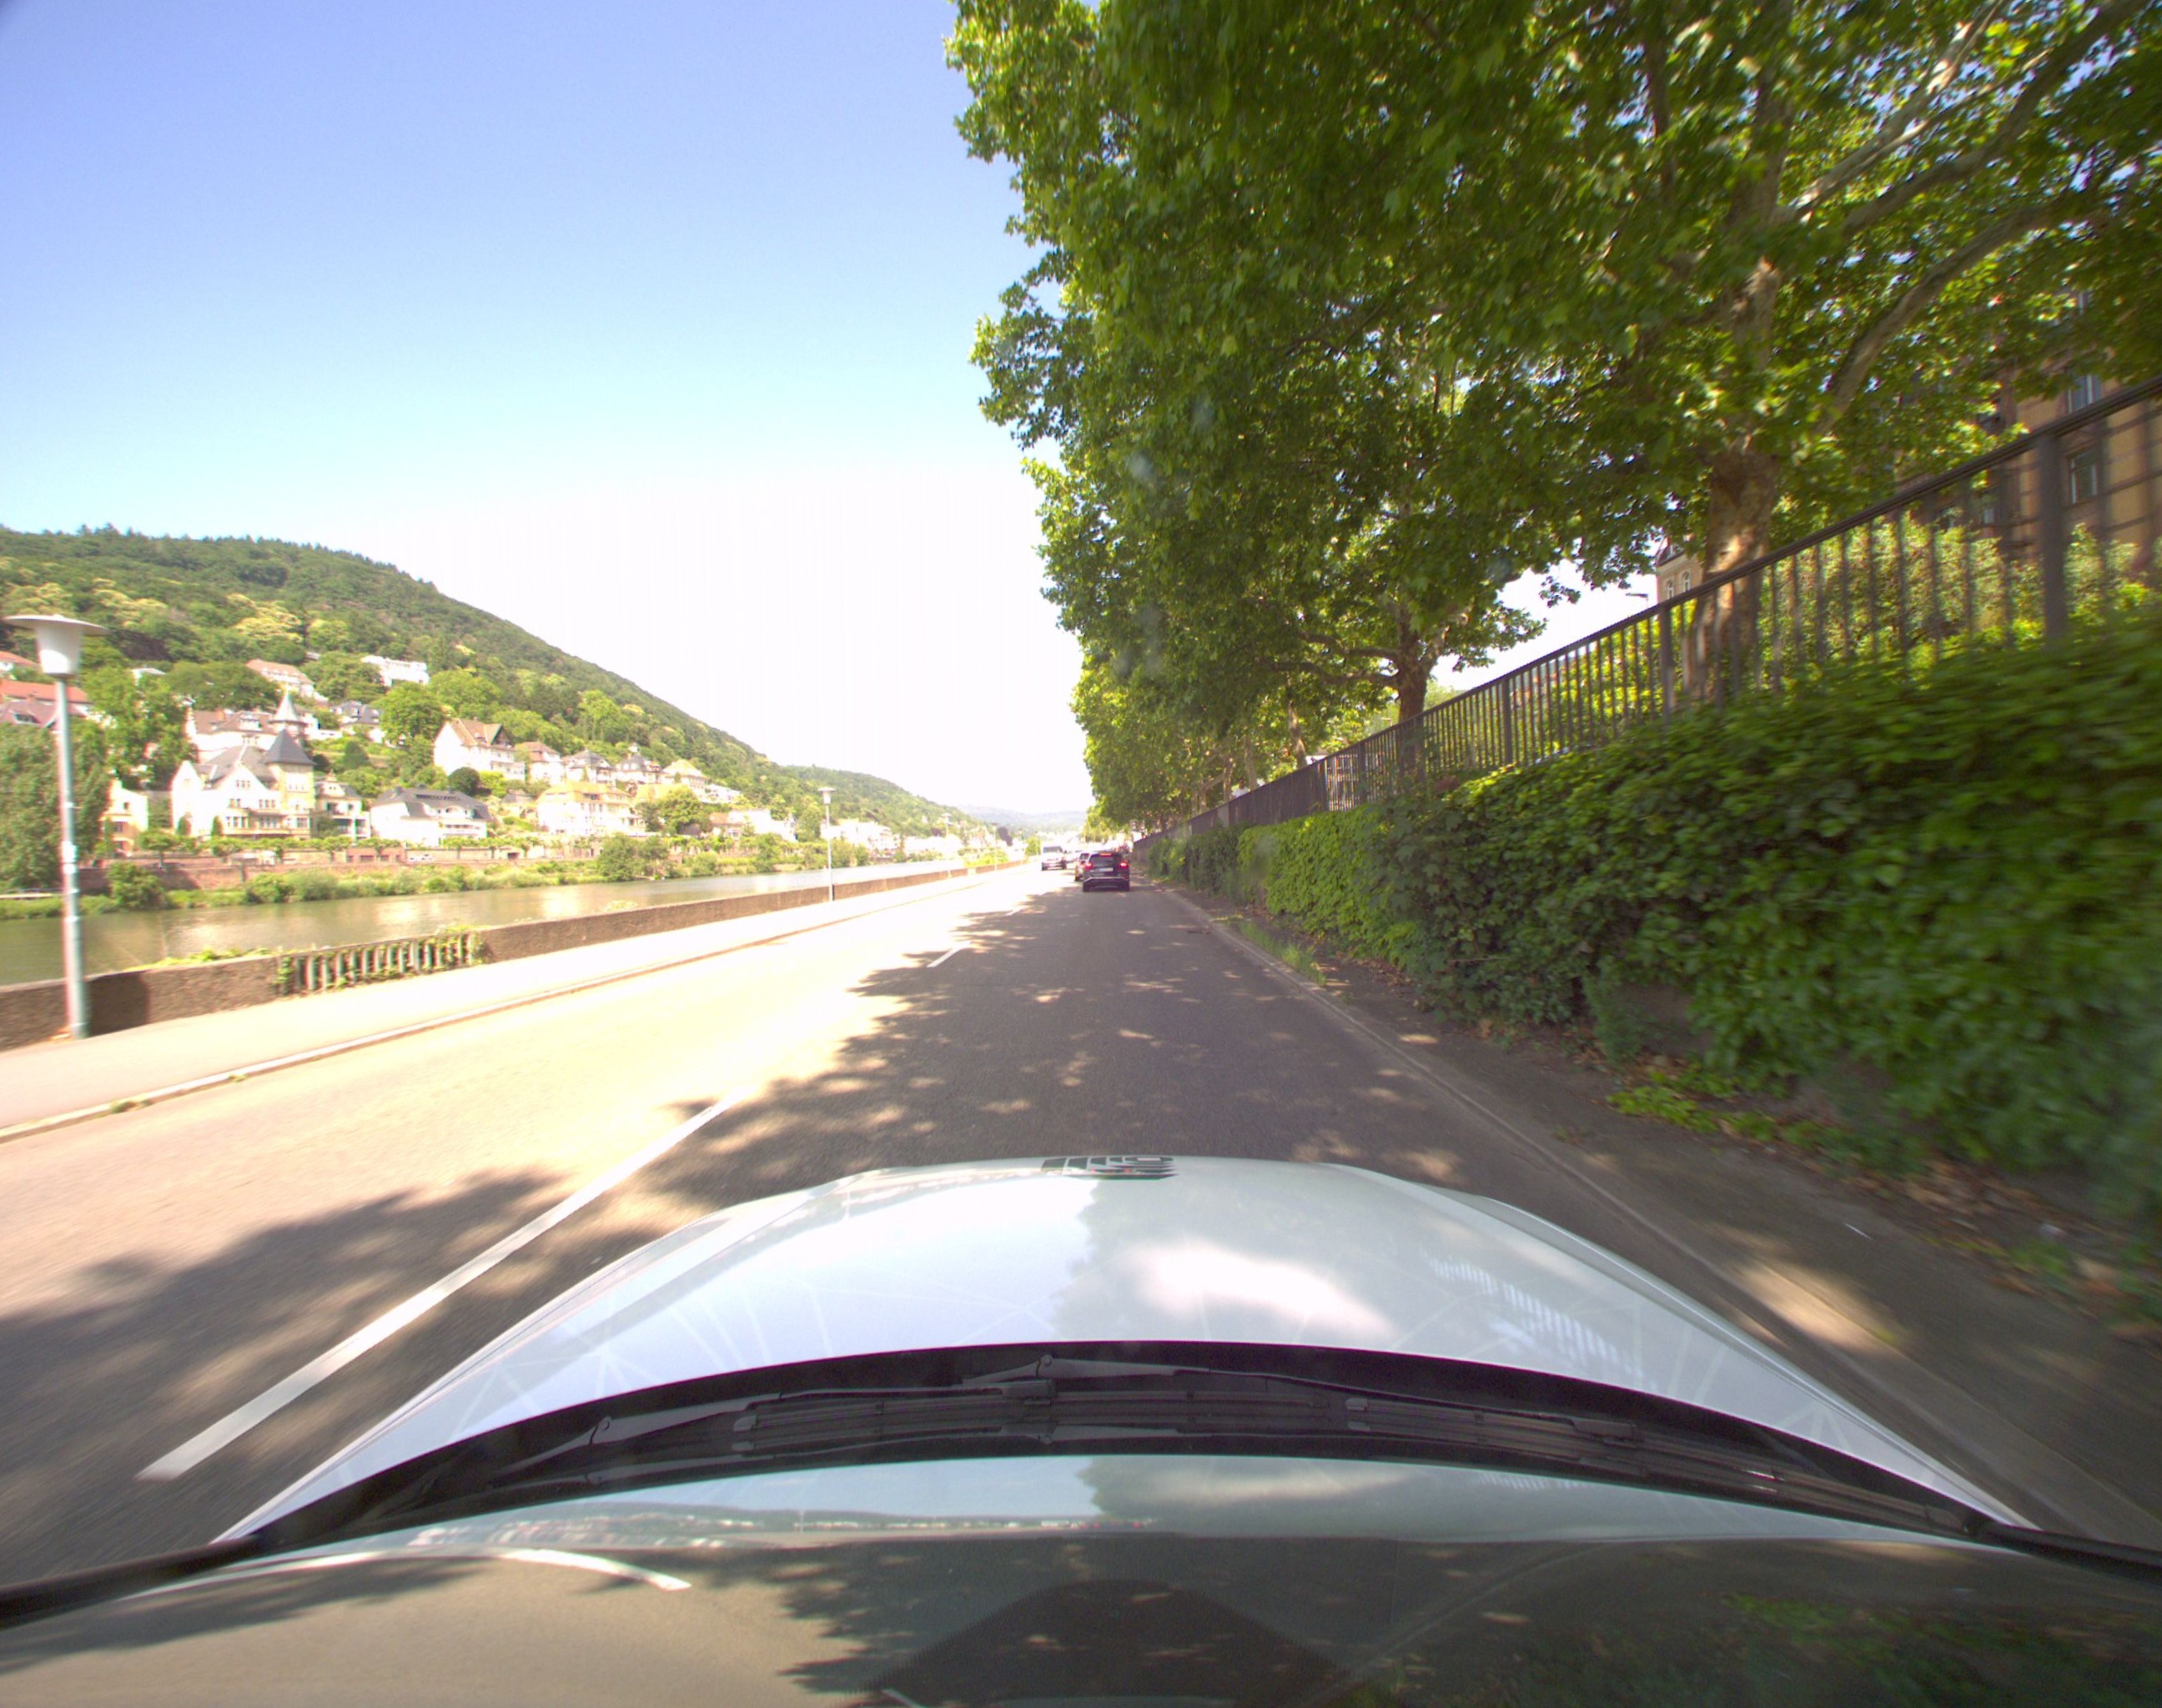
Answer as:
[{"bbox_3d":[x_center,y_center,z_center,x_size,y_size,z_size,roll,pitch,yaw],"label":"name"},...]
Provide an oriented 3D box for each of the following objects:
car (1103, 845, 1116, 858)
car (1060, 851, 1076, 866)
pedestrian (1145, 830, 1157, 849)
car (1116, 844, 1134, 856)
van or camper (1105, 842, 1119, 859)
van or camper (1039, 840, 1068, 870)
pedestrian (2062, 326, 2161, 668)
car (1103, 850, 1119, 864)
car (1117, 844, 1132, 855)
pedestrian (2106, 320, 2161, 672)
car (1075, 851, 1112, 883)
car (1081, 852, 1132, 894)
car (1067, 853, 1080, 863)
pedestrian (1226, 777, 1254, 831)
[{"bbox_3d":[4.638,-0.439,132.626,1.987,2.169,4.001,-1,1,1],"label":"car"},{"bbox_3d":[-1.547,0.506,98.733,1.725,1.650,4.178,-4,0,1],"label":"car"},{"bbox_3d":[6.470,-1.332,75.155,0.934,1.579,1.027,-5,0,-1],"label":"pedestrian"},{"bbox_3d":[8.425,-0.801,156.948,3.088,2.013,5.825,-5,0,1],"label":"car"},{"bbox_3d":[5.539,-0.604,145.086,2.300,2.847,4.249,-2,0,3],"label":"van or camper"},{"bbox_3d":[-2.319,0.079,70.260,2.069,2.398,5.387,-2,0,1],"label":"van or camper"},{"bbox_3d":[5.028,-1.608,3.623,0.584,1.419,0.588,-3,0,-6],"label":"pedestrian"},{"bbox_3d":[3.425,0.310,93.505,1.822,1.444,4.001,-2,0,1],"label":"car"},{"bbox_3d":[8.856,-0.880,167.348,2.652,2.013,5.825,-5,0,1],"label":"car"},{"bbox_3d":[5.537,-1.749,3.817,0.646,1.640,0.625,-3,0,-6],"label":"pedestrian"},{"bbox_3d":[0.655,0.632,42.170,1.822,1.511,4.001,-1,0,1],"label":"car"},{"bbox_3d":[0.973,0.687,31.996,1.822,1.486,4.001,-1,0,1],"label":"car"},{"bbox_3d":[-1.137,0.568,119.349,1.725,1.442,4.046,-3,0,1],"label":"car"},{"bbox_3d":[4.891,-1.518,25.070,0.662,1.591,0.651,-3,0,1],"label":"pedestrian"}]
